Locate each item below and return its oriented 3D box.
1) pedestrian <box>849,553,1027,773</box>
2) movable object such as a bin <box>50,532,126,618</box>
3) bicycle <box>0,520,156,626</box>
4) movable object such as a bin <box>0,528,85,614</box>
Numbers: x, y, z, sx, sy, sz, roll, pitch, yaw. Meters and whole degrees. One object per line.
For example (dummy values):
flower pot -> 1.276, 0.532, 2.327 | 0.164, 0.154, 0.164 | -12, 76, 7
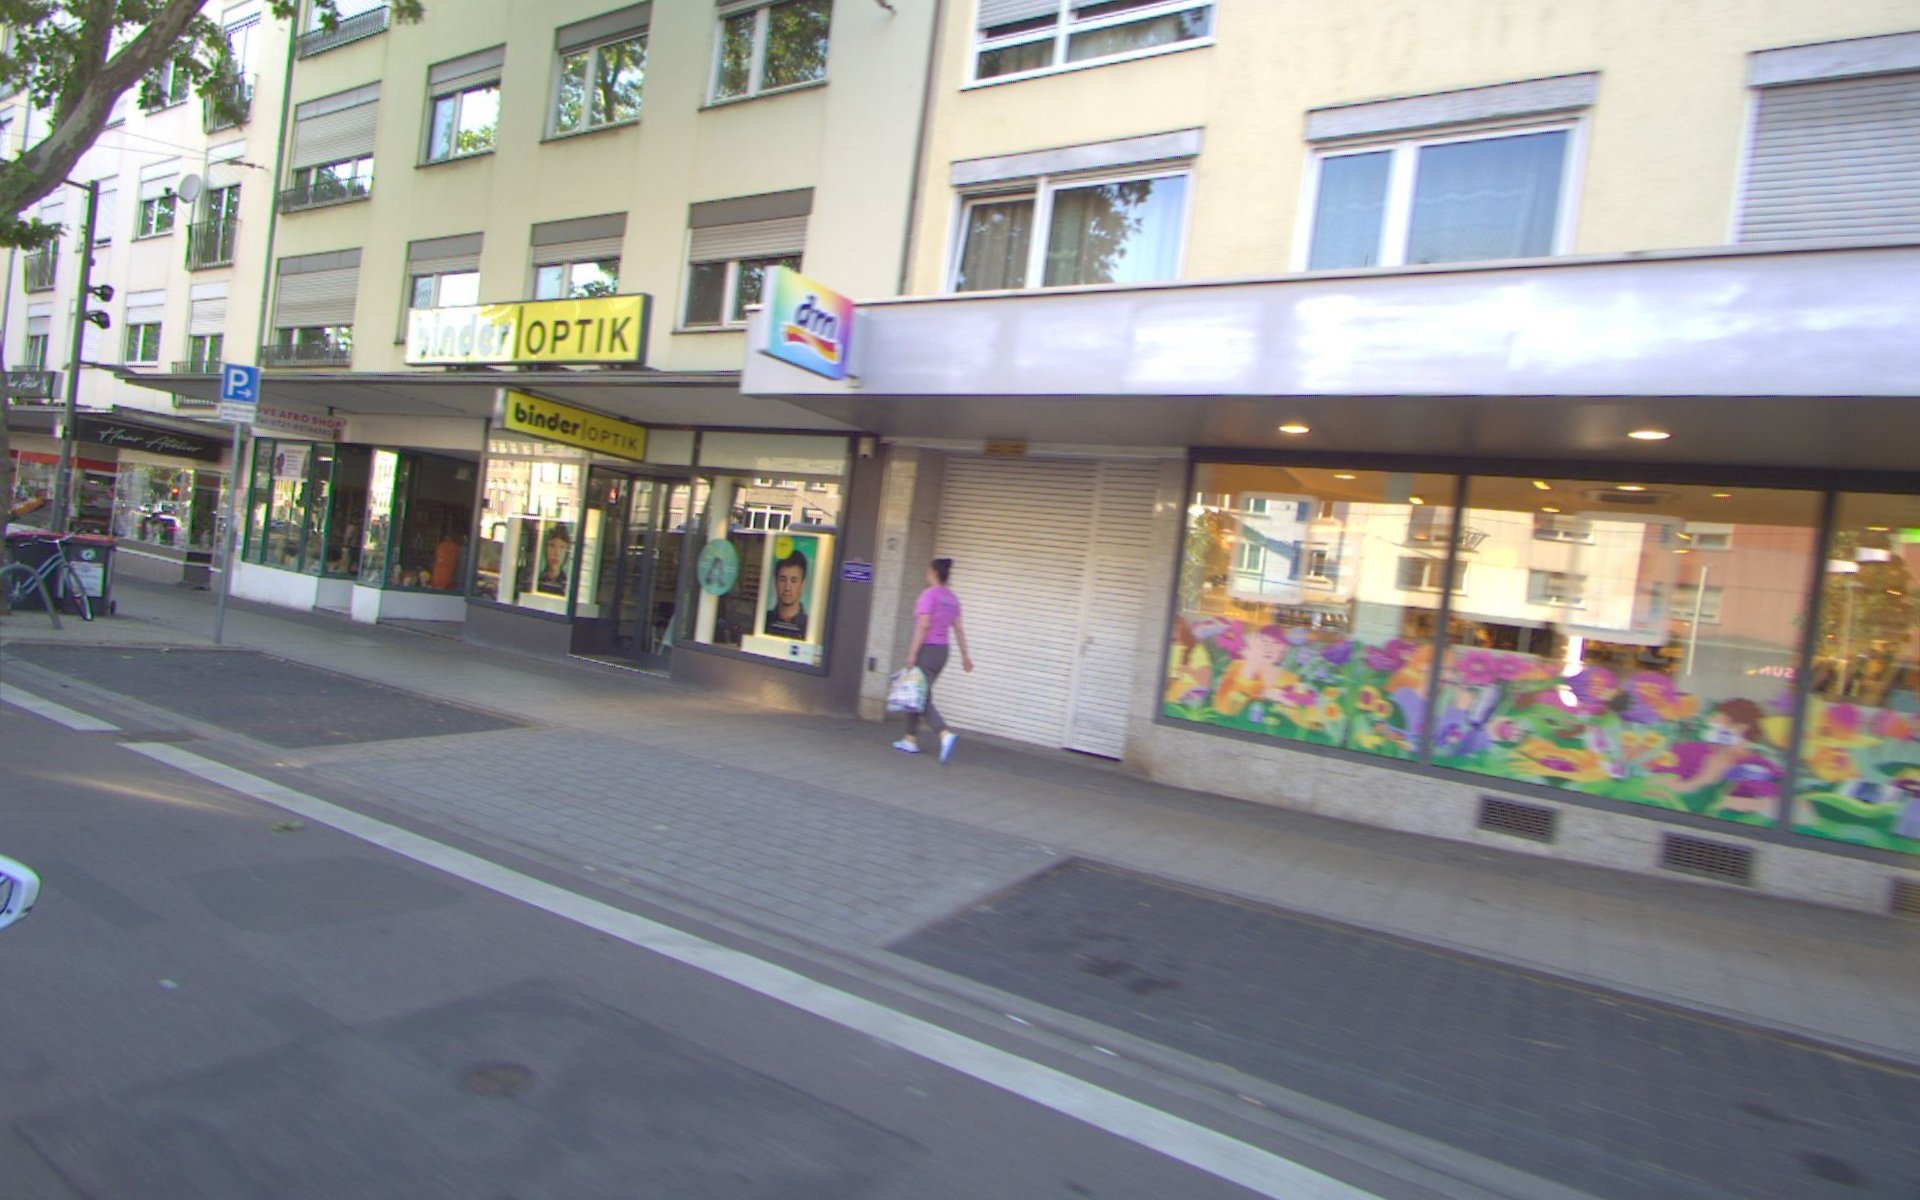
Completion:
pedestrian -> -0.193, 0.537, 9.115 | 1.115, 1.786, 0.968 | 6, 1, 32
movable object such as a bin -> -11.975, -0.346, 13.833 | 0.719, 1.086, 0.637 | 4, 2, -40
bicycle -> -11.046, -0.316, 12.278 | 0.733, 1.130, 1.720 | 3, -3, 31
movable object such as a bin -> -12.527, -0.393, 13.698 | 0.633, 1.086, 0.723 | 6, 2, 29
